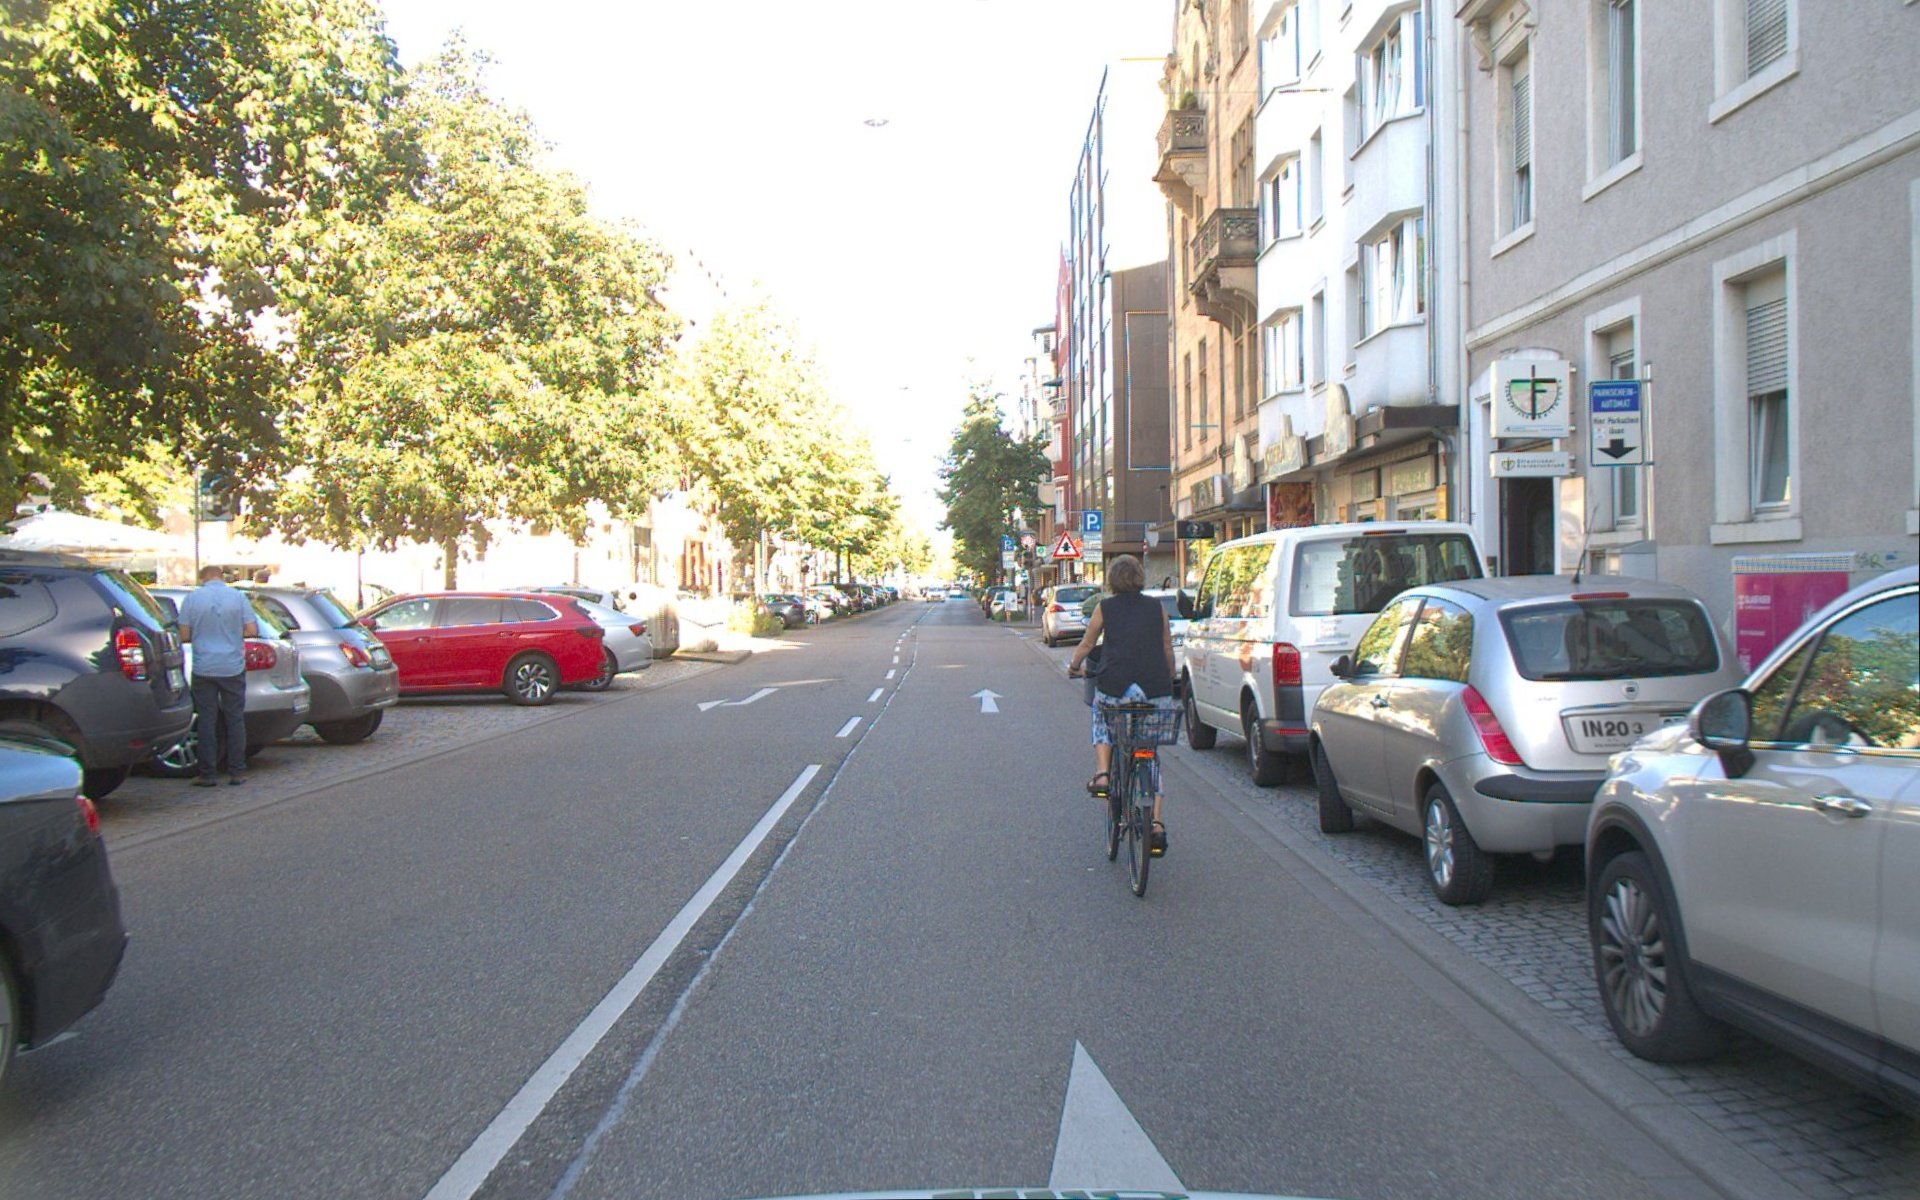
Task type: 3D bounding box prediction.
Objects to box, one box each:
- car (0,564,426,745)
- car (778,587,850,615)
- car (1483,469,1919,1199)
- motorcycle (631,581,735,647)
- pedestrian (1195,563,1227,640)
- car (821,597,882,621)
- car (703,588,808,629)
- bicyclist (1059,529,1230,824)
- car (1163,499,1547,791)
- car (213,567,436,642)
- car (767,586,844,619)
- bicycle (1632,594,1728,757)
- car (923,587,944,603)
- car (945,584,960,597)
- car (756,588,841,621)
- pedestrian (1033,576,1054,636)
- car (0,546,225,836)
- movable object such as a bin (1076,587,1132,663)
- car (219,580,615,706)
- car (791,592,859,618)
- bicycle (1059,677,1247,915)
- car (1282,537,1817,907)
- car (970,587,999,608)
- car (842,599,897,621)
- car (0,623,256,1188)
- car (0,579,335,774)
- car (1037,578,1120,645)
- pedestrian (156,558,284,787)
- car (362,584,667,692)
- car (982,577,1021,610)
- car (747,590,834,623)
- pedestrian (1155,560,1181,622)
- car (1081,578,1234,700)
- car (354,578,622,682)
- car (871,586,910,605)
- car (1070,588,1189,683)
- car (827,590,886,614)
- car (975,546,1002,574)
[{"bbox_3d":[-7.408,0.508,16.019,3.908,1.626,1.748,1,-1,-4],"label":"car"},{"bbox_3d":[-8.353,0.049,94.724,3.905,1.534,1.895,1,0,0],"label":"car"},{"bbox_3d":[3.010,0.604,4.286,1.710,1.769,4.959,1,-1,0],"label":"car"},{"bbox_3d":[-7.121,0.357,42.551,2.420,1.632,1.000,-1,0,18],"label":"motorcycle"},{"bbox_3d":[6.057,0.041,39.930,0.595,1.819,0.683,-2,-1,-2],"label":"pedestrian"},{"bbox_3d":[-7.467,0.620,114.232,3.904,1.534,2.001,2,0,3],"label":"car"},{"bbox_3d":[-8.116,0.342,65.939,3.905,1.534,2.000,1,0,0],"label":"car"},{"bbox_3d":[0.966,0.390,8.896,0.770,1.478,1.095,1,-1,-1],"label":"bicyclist"},{"bbox_3d":[3.112,0.291,14.258,1.953,2.040,5.116,-1,0,-2],"label":"car"},{"bbox_3d":[-16.394,0.148,42.730,5.201,1.831,2.144,1,-1,-27],"label":"car"},{"bbox_3d":[-8.241,0.146,88.518,3.905,1.703,2.089,1,0,0],"label":"car"},{"bbox_3d":[5.735,0.580,13.236,0.473,1.206,1.720,-3,-2,18],"label":"bicycle"},{"bbox_3d":[-2.604,-0.490,164.686,1.952,1.583,4.000,1,-1,0],"label":"car"},{"bbox_3d":[-0.897,-1.194,209.870,1.832,1.583,4.000,1,-1,0],"label":"car"},{"bbox_3d":[-7.892,0.237,81.004,3.905,1.534,2.000,1,0,0],"label":"car"},{"bbox_3d":[2.490,0.171,49.349,0.601,1.765,0.634,1,-1,1],"label":"pedestrian"},{"bbox_3d":[-6.884,0.507,10.321,3.923,1.697,1.991,1,0,-17],"label":"car"},{"bbox_3d":[2.998,0.507,34.478,1.051,1.482,1.493,-3,1,5],"label":"movable object such as a bin"},{"bbox_3d":[-7.104,0.558,21.773,4.771,1.514,1.752,1,-1,-24],"label":"car"},{"bbox_3d":[-8.072,0.302,99.346,3.905,1.534,2.000,1,0,-1],"label":"car"},{"bbox_3d":[0.956,0.949,8.834,0.639,0.975,2.697,1,-1,-1],"label":"bicycle"},{"bbox_3d":[2.994,0.564,9.253,1.664,1.632,3.756,-1,-1,0],"label":"car"},{"bbox_3d":[1.724,-0.166,118.574,1.953,1.478,3.999,0,0,-1],"label":"car"},{"bbox_3d":[-6.852,0.752,124.870,3.904,1.534,2.001,2,0,3],"label":"car"},{"bbox_3d":[-3.669,0.764,3.095,1.870,1.441,4.814,0,-1,12],"label":"car"},{"bbox_3d":[-7.313,0.587,13.380,3.914,1.474,1.799,1,-1,-10],"label":"car"},{"bbox_3d":[3.178,0.314,45.134,1.860,1.704,4.824,1,-1,-1],"label":"car"},{"bbox_3d":[-5.572,0.539,12.482,0.686,1.678,0.645,1,-1,-7],"label":"pedestrian"},{"bbox_3d":[-6.689,0.577,24.919,4.173,1.503,1.720,1,-1,-28],"label":"car"},{"bbox_3d":[2.186,-0.326,86.161,1.952,1.646,4.011,1,-1,2],"label":"car"},{"bbox_3d":[-8.056,0.317,78.914,3.905,1.534,2.000,1,0,0],"label":"car"},{"bbox_3d":[6.448,-0.274,51.264,0.632,1.904,0.627,0,-1,22],"label":"pedestrian"},{"bbox_3d":[2.784,0.544,23.970,1.683,1.541,3.582,-3,-1,-1],"label":"car"},{"bbox_3d":[-7.775,0.501,27.290,3.943,1.614,1.813,1,-1,-29],"label":"car"},{"bbox_3d":[-7.584,-0.515,181.303,3.902,2.049,2.002,0,0,9],"label":"car"},{"bbox_3d":[2.788,0.585,27.872,1.644,1.473,3.785,1,-1,0],"label":"car"},{"bbox_3d":[-7.310,0.148,116.912,3.904,1.534,2.001,2,0,3],"label":"car"},{"bbox_3d":[2.207,-3.146,130.802,1.953,2.049,3.999,-2,0,-1],"label":"car"}]
